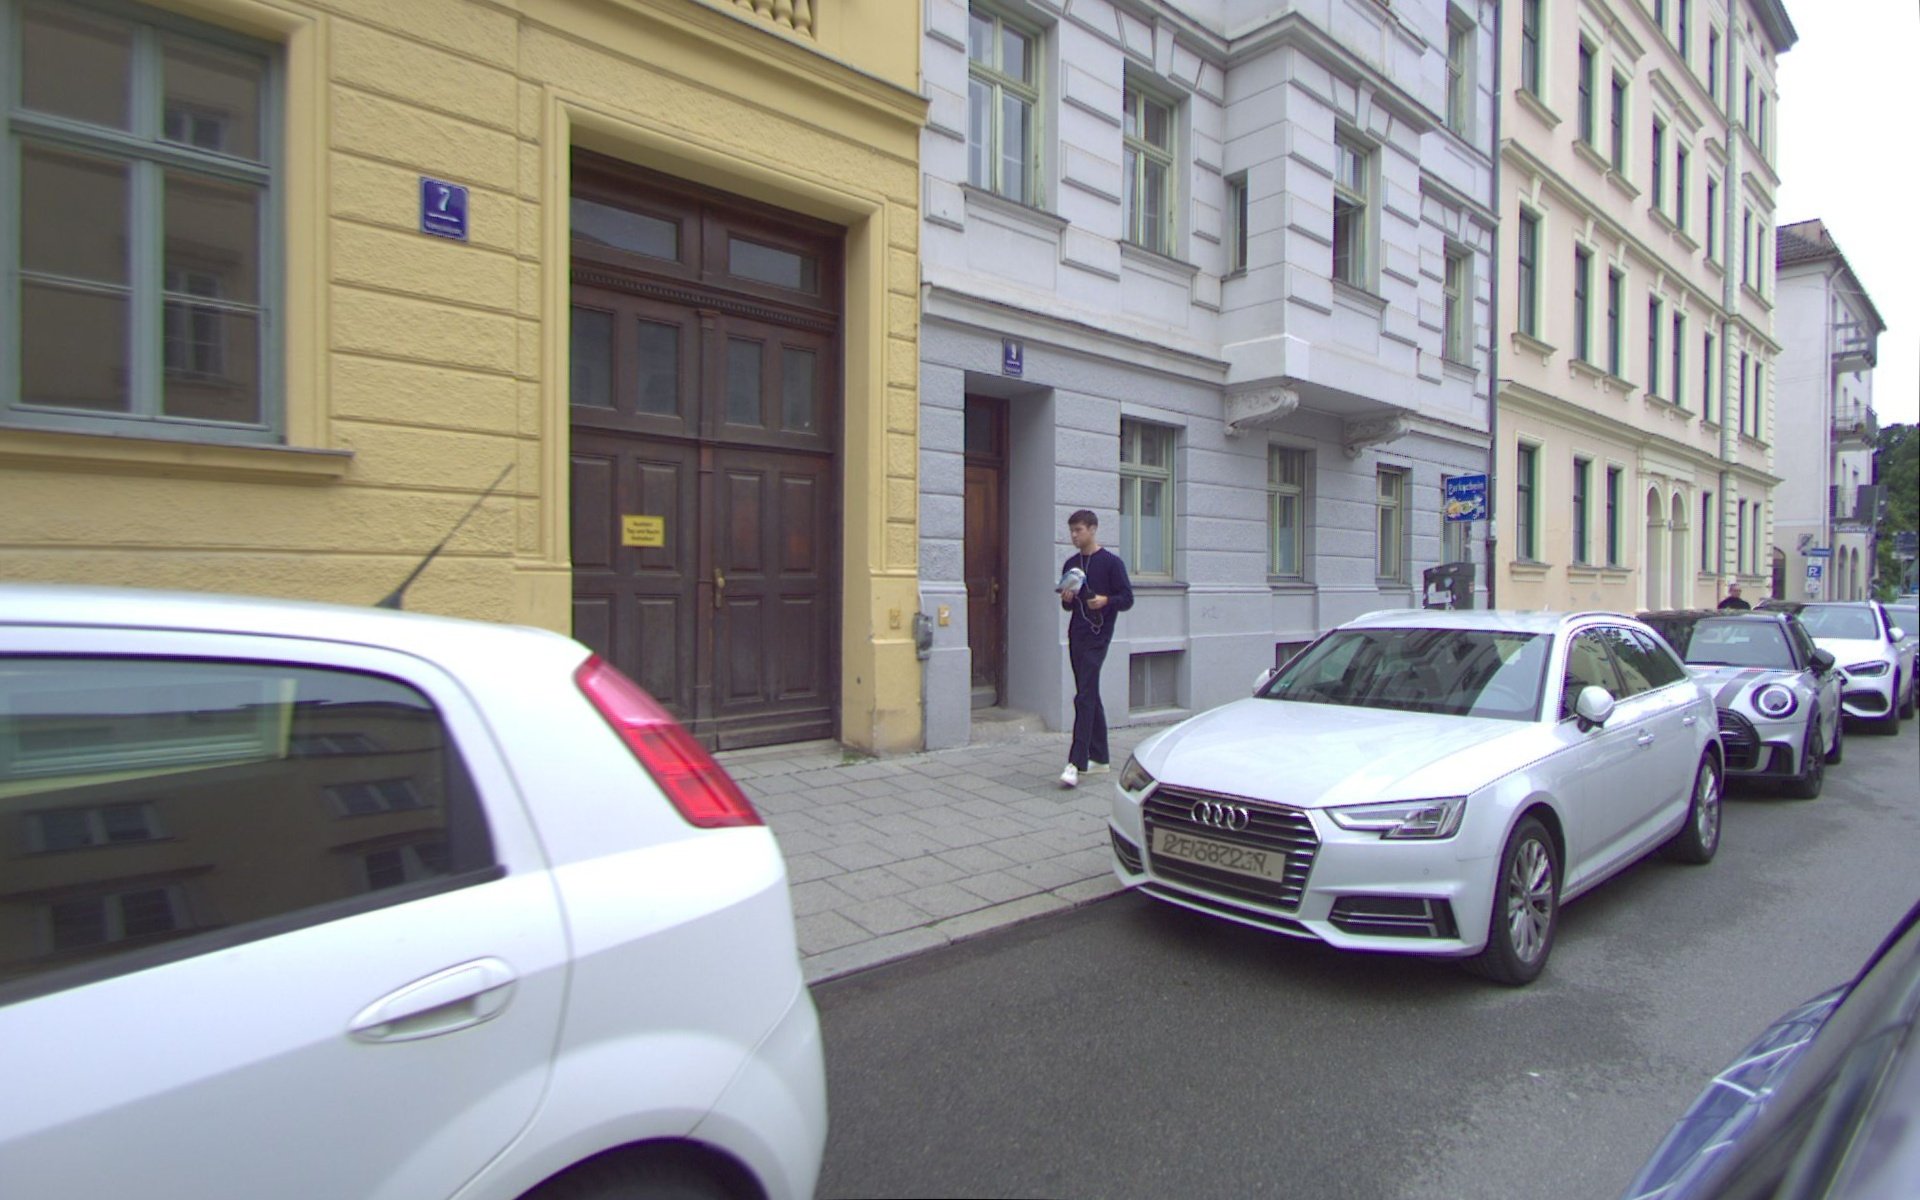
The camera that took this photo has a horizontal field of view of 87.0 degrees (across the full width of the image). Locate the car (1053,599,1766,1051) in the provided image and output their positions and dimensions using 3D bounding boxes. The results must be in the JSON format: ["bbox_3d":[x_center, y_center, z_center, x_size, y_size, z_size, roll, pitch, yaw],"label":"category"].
[{"bbox_3d":[2.760,0.728,5.490,4.731,1.426,1.711,0,1,-41],"label":"car"}]

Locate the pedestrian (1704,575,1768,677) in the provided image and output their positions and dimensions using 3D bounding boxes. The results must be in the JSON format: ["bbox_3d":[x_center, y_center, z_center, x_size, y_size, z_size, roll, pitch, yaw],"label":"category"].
[{"bbox_3d":[13.824,0.429,18.027,0.987,1.738,0.720,-1,2,-42],"label":"pedestrian"}]

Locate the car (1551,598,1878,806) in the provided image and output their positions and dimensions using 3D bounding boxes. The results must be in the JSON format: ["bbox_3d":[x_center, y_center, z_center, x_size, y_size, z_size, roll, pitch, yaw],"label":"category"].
[{"bbox_3d":[6.941,0.709,9.132,4.137,1.422,1.710,0,1,-44],"label":"car"}]

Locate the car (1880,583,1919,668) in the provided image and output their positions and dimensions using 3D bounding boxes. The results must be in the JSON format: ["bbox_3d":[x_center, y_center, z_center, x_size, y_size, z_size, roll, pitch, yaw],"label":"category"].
[{"bbox_3d":[23.548,0.580,23.932,5.159,1.888,2.001,1,0,-40],"label":"car"}]

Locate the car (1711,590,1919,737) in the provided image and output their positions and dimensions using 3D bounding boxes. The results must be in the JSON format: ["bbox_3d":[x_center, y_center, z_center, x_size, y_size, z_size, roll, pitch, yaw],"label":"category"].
[{"bbox_3d":[11.510,0.697,13.300,4.389,1.603,1.746,0,1,-41],"label":"car"}]

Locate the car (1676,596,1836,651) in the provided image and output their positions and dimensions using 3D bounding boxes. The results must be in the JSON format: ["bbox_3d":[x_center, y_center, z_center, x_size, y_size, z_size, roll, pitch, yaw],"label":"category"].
[{"bbox_3d":[27.327,0.783,34.837,1.725,1.625,4.094,3,0,-42],"label":"car"}]

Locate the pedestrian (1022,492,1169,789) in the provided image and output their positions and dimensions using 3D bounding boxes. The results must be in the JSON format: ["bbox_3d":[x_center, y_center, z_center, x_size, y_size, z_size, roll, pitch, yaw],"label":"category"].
[{"bbox_3d":[0.971,0.247,7.297,0.696,2.004,0.671,-1,5,-41],"label":"pedestrian"}]

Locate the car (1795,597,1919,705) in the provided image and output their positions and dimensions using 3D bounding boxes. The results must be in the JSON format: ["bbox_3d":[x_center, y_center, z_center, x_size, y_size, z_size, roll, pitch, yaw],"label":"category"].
[{"bbox_3d":[15.133,0.740,16.445,4.200,1.540,1.758,0,1,-41],"label":"car"}]

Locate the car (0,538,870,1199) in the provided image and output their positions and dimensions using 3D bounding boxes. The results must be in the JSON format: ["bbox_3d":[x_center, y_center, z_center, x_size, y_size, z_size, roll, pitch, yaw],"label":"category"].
[{"bbox_3d":[-2.203,0.655,1.017,4.028,1.472,1.710,0,1,-44],"label":"car"}]
